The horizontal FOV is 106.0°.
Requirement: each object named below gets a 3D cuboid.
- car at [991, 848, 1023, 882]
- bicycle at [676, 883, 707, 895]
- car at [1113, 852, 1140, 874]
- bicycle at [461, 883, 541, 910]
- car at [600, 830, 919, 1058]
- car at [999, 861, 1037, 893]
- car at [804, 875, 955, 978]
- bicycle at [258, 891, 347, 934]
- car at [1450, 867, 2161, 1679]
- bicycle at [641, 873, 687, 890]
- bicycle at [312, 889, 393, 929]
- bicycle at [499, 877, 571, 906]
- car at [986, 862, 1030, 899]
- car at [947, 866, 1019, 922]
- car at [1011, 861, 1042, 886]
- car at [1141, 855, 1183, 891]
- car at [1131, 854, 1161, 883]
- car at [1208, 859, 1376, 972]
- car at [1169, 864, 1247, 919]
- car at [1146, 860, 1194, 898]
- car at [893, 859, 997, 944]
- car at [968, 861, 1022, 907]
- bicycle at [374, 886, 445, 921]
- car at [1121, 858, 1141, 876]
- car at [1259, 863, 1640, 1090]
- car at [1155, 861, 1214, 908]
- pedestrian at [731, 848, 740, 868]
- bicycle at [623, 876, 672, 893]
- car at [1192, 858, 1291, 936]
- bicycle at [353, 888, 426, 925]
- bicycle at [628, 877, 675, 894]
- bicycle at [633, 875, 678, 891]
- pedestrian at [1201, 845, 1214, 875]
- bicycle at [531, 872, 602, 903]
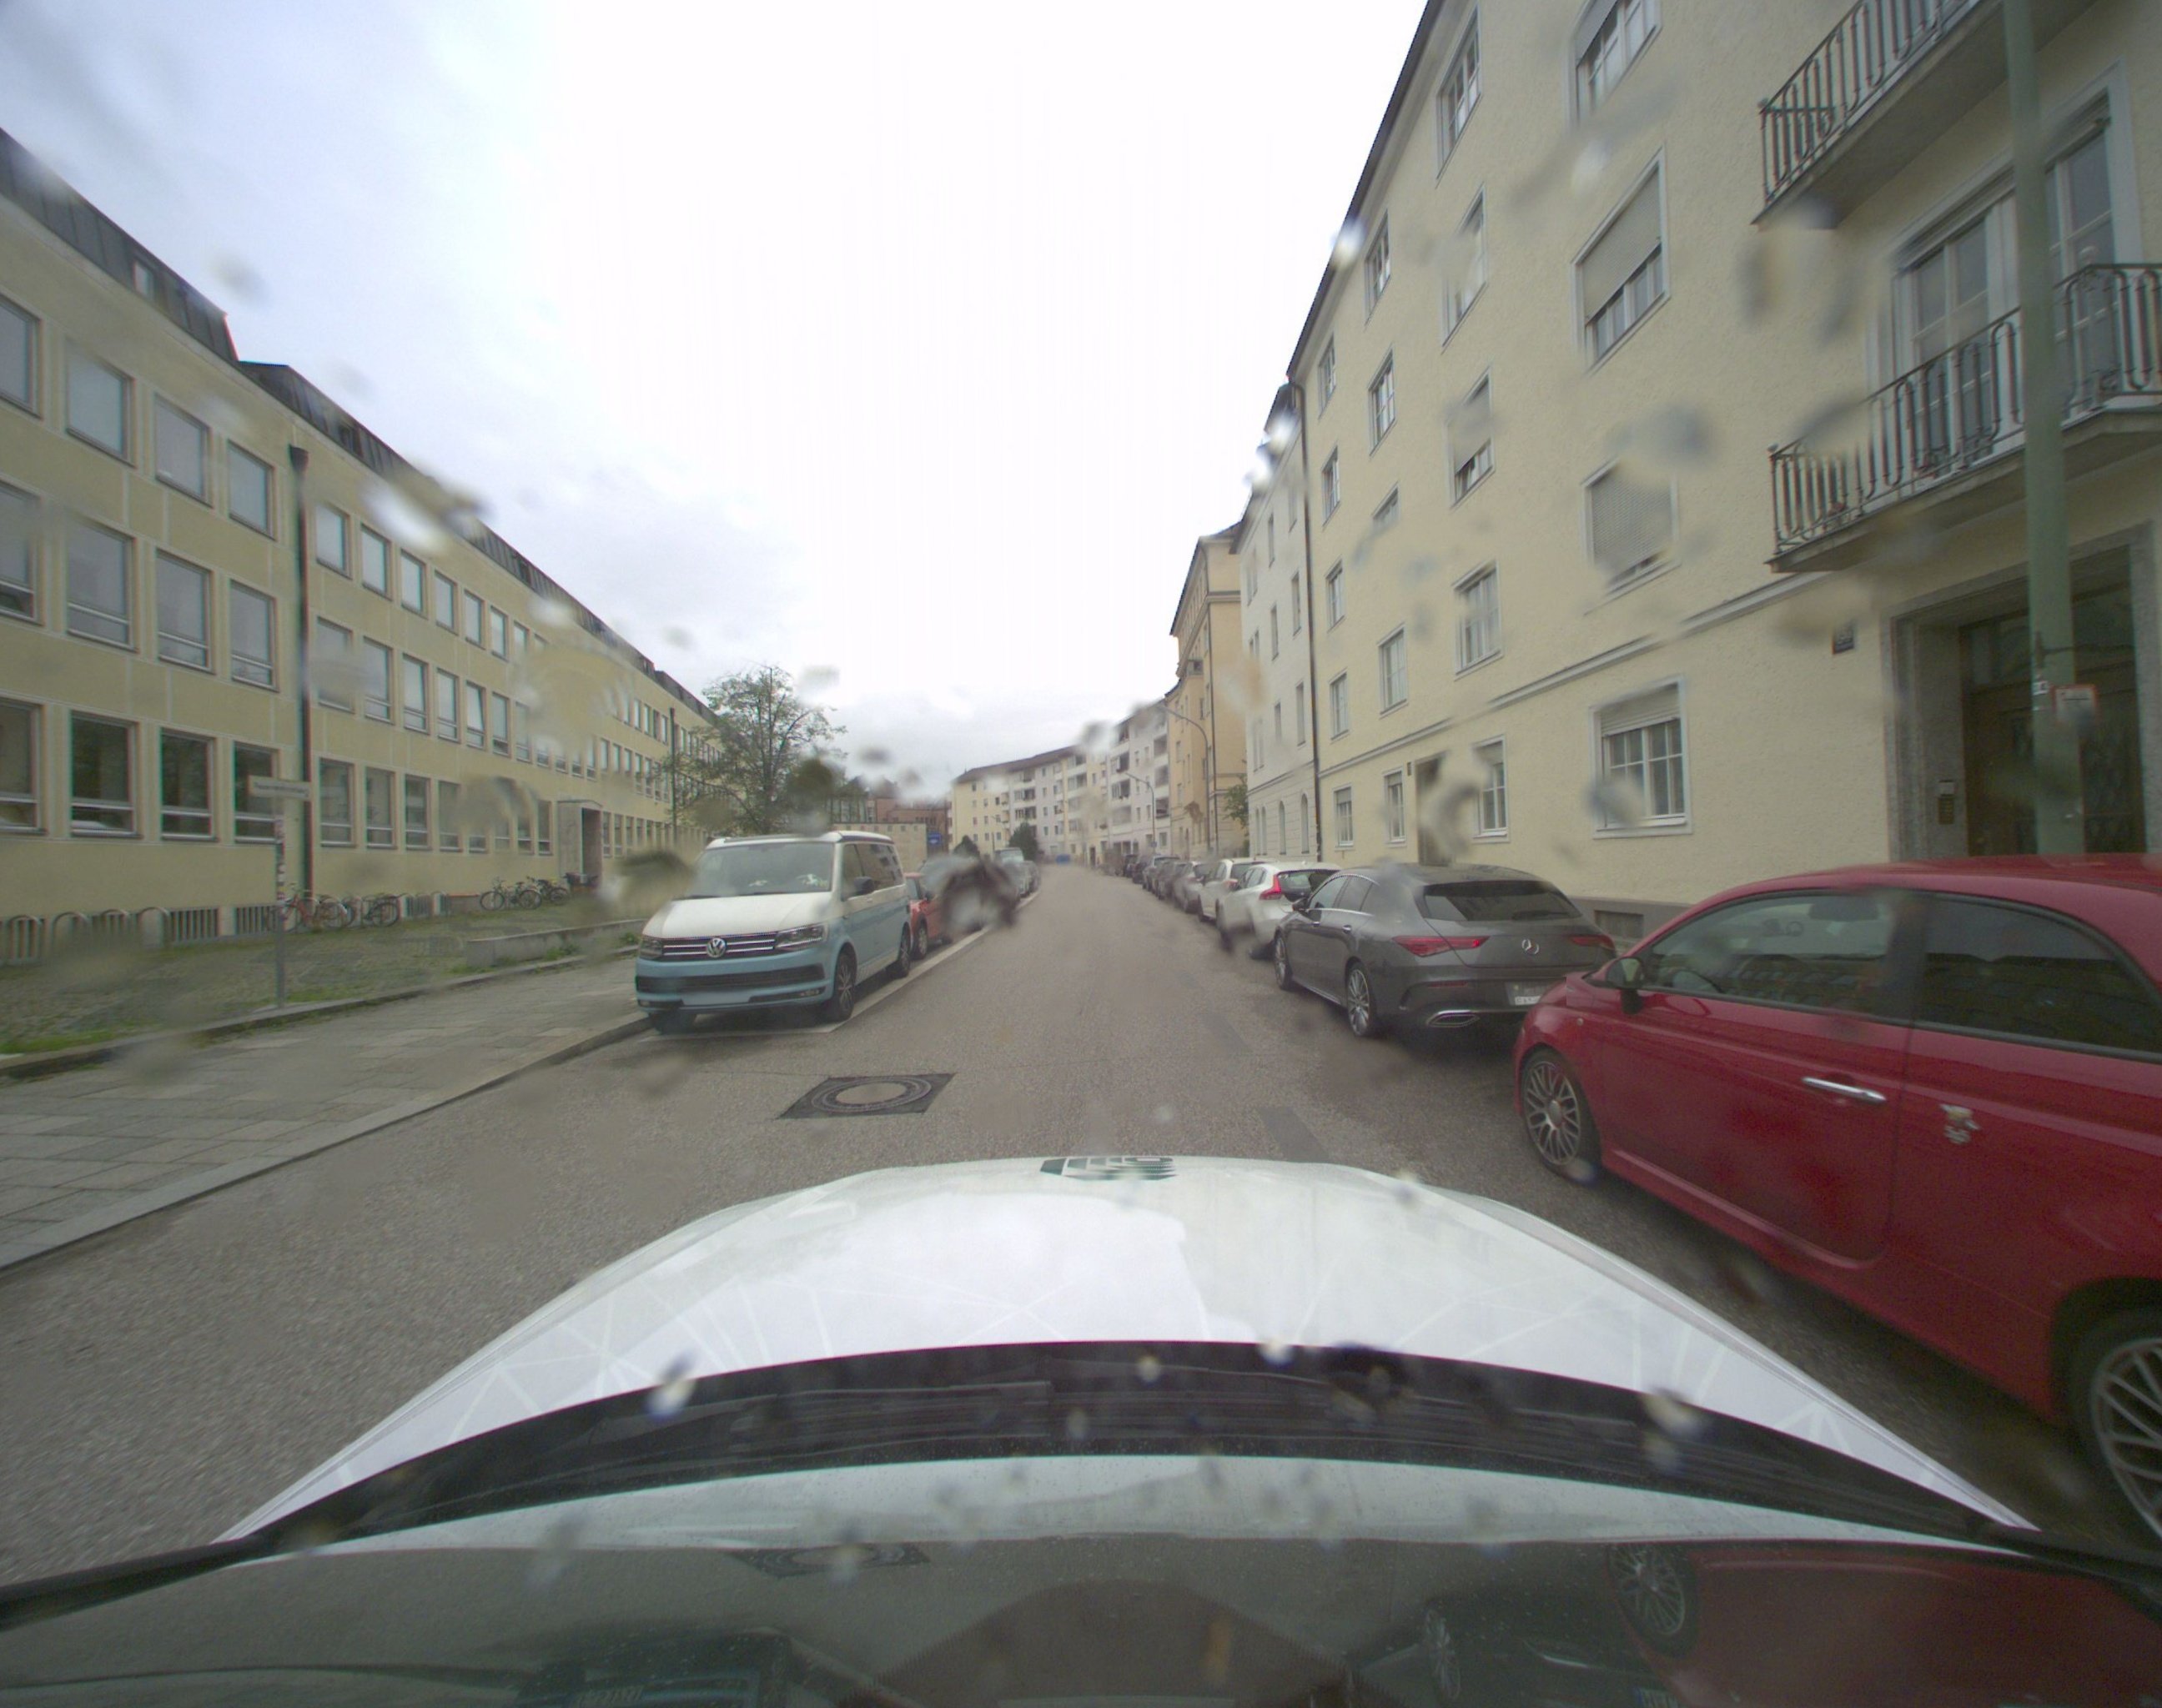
[{"bbox_3d":[-6.004,0.836,66.073,1.774,2.654,3.977,1,0,-17],"label":"car"},{"bbox_3d":[-25.985,2.343,54.320,1.741,0.714,0.611,-1,-1,-17],"label":"bicycle"},{"bbox_3d":[3.597,0.704,65.341,1.601,1.715,3.081,0,0,-8],"label":"car"},{"bbox_3d":[-20.279,1.481,28.520,2.211,0.835,0.492,-1,-1,-17],"label":"bicycle"},{"bbox_3d":[-3.317,0.781,9.564,1.877,1.931,4.599,-3,0,-1],"label":"car"},{"bbox_3d":[-3.153,1.141,41.450,1.619,1.419,3.980,-2,0,-1],"label":"car"},{"bbox_3d":[-3.406,1.170,14.423,1.647,1.373,3.653,-3,0,1],"label":"car"},{"bbox_3d":[-18.509,1.379,19.384,1.530,0.955,0.364,-1,0,-15],"label":"bicycle"},{"bbox_3d":[2.980,0.862,3.020,1.589,1.509,3.803,-1,0,2],"label":"car"},{"bbox_3d":[-23.838,1.542,46.609,2.211,0.896,0.644,-1,-1,-17],"label":"bicycle"},{"bbox_3d":[-18.667,1.401,20.887,1.530,0.955,0.364,-1,0,-15],"label":"bicycle"},{"bbox_3d":[-20.614,1.406,30.781,2.211,1.037,0.492,-1,-1,-17],"label":"bicycle"},{"bbox_3d":[-3.143,1.139,35.757,1.619,1.419,3.979,-2,0,-2],"label":"car"},{"bbox_3d":[-2.909,1.150,24.820,1.618,1.412,3.799,-3,0,1],"label":"car"},{"bbox_3d":[-3.374,1.188,50.927,1.619,1.419,3.647,-2,0,-1],"label":"car"},{"bbox_3d":[3.795,0.858,38.519,1.585,1.582,4.299,0,0,0],"label":"car"},{"bbox_3d":[3.815,0.829,48.323,1.469,1.641,4.001,0,0,0],"label":"car"},{"bbox_3d":[3.295,0.872,13.549,1.687,1.491,4.283,-2,0,0],"label":"car"},{"bbox_3d":[3.577,1.012,23.585,1.687,1.432,3.944,0,0,0],"label":"car"},{"bbox_3d":[3.596,0.982,33.406,1.585,1.432,3.825,0,0,0],"label":"car"},{"bbox_3d":[-3.175,1.051,19.762,1.696,1.691,4.028,-3,0,1],"label":"car"},{"bbox_3d":[-3.158,1.068,30.516,1.619,1.508,3.979,-2,0,-2],"label":"car"},{"bbox_3d":[-19.146,1.403,23.239,1.530,0.955,0.364,-1,0,-15],"label":"bicycle"},{"bbox_3d":[3.659,0.947,60.085,1.268,1.299,2.797,-1,0,0],"label":"car"},{"bbox_3d":[3.012,0.868,7.784,1.687,1.491,4.343,-2,0,0],"label":"car"},{"bbox_3d":[3.543,1.008,28.521,1.585,1.432,4.421,0,1,1],"label":"car"},{"bbox_3d":[-29.692,0.339,70.025,0.602,1.736,0.657,1,-1,-30],"label":"pedestrian"},{"bbox_3d":[-23.049,1.625,43.344,2.211,0.835,0.492,-1,-1,-17],"label":"bicycle"},{"bbox_3d":[3.495,0.884,18.341,1.593,1.491,3.801,-1,1,2],"label":"car"},{"bbox_3d":[-19.044,1.431,22.448,1.530,0.955,0.364,-1,0,-15],"label":"bicycle"},{"bbox_3d":[-23.241,1.679,44.095,2.124,0.835,0.644,-1,-1,-17],"label":"bicycle"},{"bbox_3d":[-23.701,1.607,45.370,2.124,0.835,0.644,-1,-1,-17],"label":"bicycle"},{"bbox_3d":[7.199,0.348,46.327,0.664,1.692,0.690,1,-1,1],"label":"pedestrian"},{"bbox_3d":[-21.072,1.360,33.413,2.250,1.168,1.042,-1,0,-14],"label":"bicycle"}]
